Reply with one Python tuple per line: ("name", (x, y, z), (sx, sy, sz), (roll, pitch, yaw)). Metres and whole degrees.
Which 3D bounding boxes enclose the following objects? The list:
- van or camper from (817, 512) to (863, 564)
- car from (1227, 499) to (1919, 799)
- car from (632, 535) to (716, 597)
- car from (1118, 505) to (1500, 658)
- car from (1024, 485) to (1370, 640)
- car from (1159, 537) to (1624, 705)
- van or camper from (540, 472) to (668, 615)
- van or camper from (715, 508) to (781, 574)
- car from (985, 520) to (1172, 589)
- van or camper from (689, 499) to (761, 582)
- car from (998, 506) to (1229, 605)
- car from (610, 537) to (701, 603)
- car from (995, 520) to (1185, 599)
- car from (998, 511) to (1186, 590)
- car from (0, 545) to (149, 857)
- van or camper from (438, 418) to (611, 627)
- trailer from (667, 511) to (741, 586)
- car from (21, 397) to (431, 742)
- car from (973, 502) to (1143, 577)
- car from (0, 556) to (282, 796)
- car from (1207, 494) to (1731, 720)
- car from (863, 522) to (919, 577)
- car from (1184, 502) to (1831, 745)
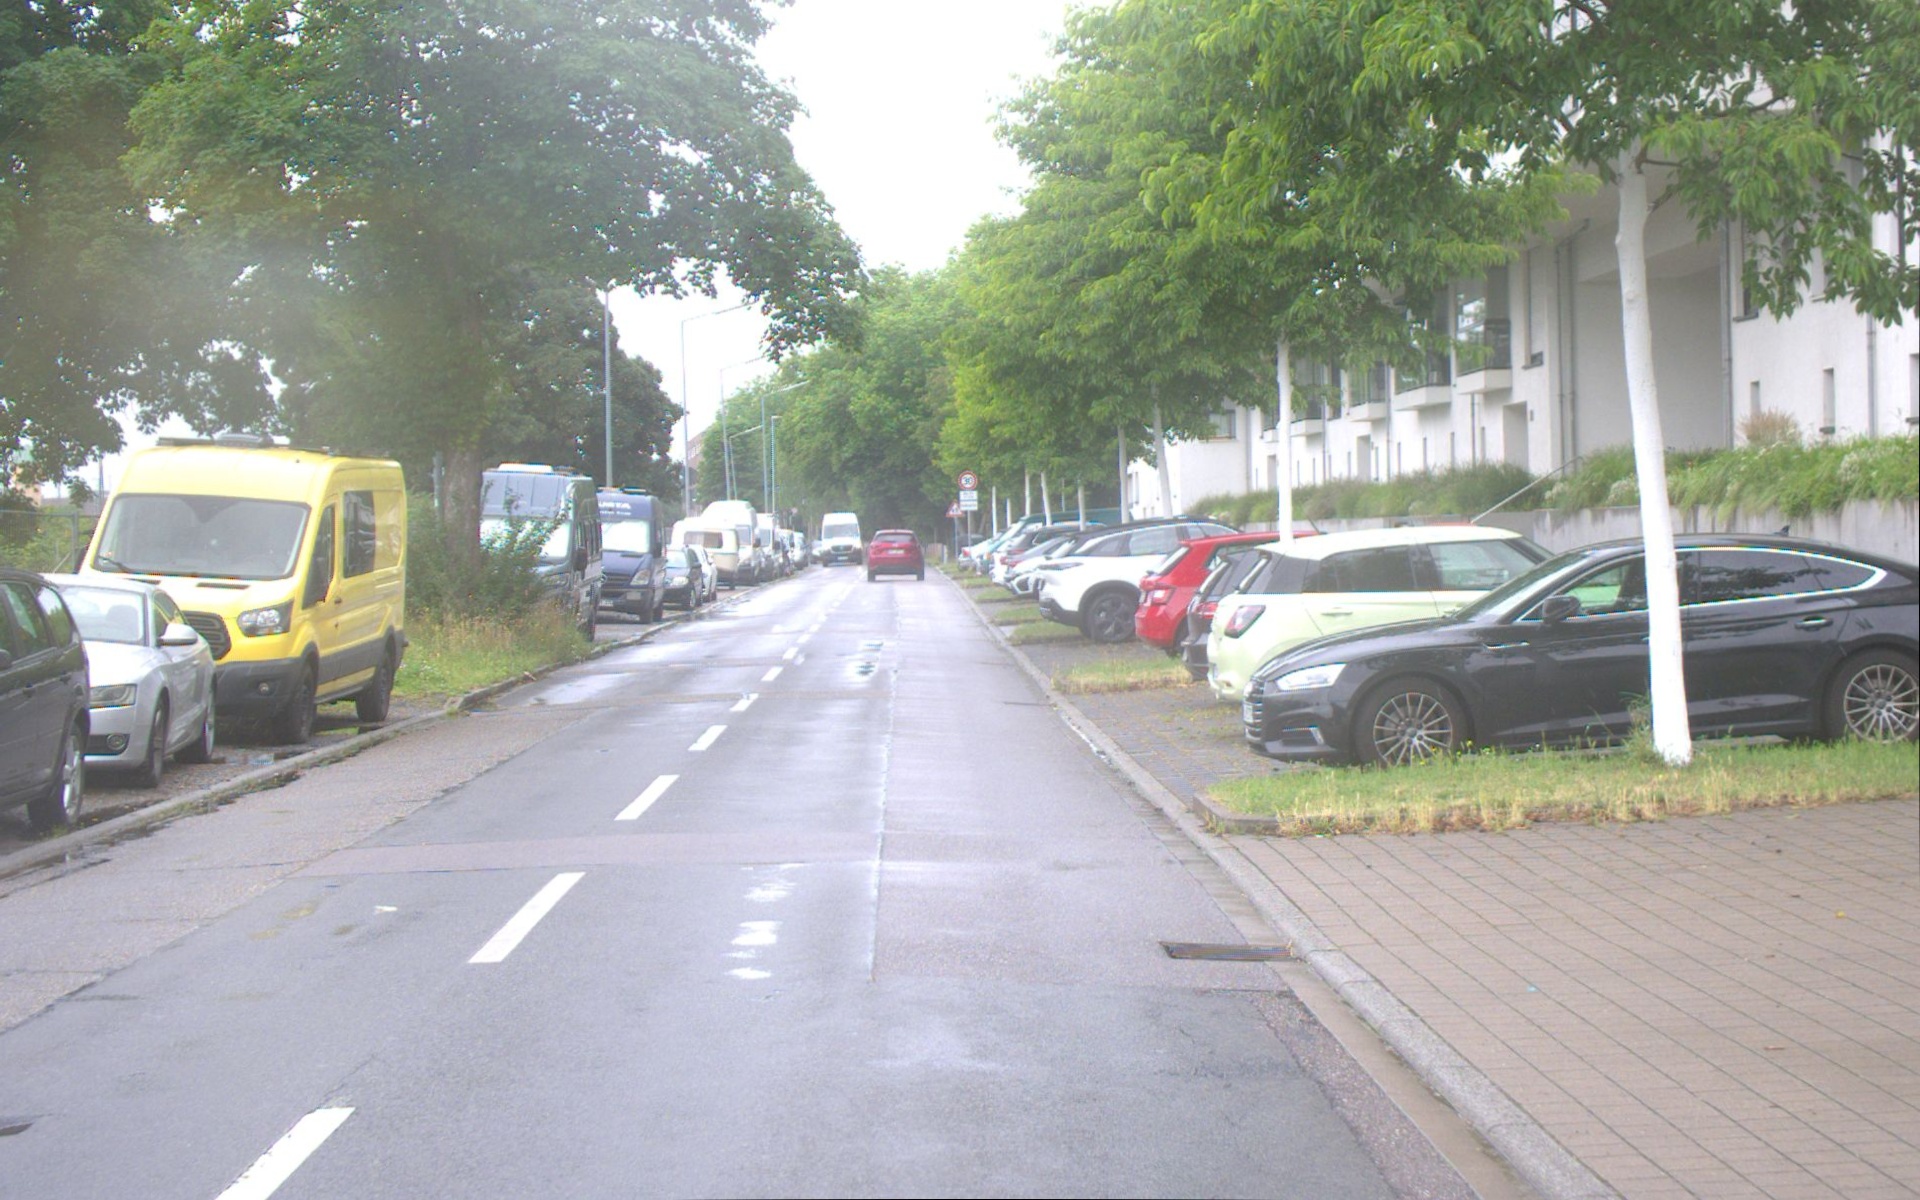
("van or camper", (-5.996, -3.128, 172.855), (1.993, 2.488, 7.178), (-2, 1, 0))
("car", (4.051, 0.254, 21.031), (4.570, 1.492, 1.826), (-4, 1, -1))
("car", (-7.378, -0.911, 89.055), (1.887, 1.520, 5.110), (1, 1, -2))
("car", (3.858, -0.200, 38.511), (3.987, 1.446, 1.821), (-3, 0, -1))
("car", (3.314, -0.540, 48.688), (4.539, 1.679, 1.886), (-6, 1, -3))
("car", (3.850, 0.171, 31.058), (3.956, 1.469, 1.592), (0, 1, -3))
("van or camper", (-7.201, -1.123, 70.178), (2.094, 2.706, 7.575), (1, 1, -2))
("van or camper", (-8.091, -2.239, 131.468), (2.189, 2.453, 6.377), (0, 1, -1))
("car", (2.836, -1.098, 82.810), (4.298, 1.423, 1.637), (-3, 1, -3))
("van or camper", (-7.998, -2.026, 117.543), (1.993, 2.752, 7.899), (0, 1, -1))
("car", (3.108, -0.926, 70.401), (4.476, 1.681, 1.936), (-4, 2, -2))
("car", (-7.301, -0.744, 82.722), (1.774, 1.497, 4.828), (1, 1, 0))
("car", (2.826, -0.897, 75.204), (3.987, 1.504, 1.684), (-3, 2, -1))
("car", (3.064, -1.155, 80.390), (4.161, 1.619, 1.898), (-3, 1, -3))
("car", (-5.919, 0.484, 18.605), (1.993, 1.588, 5.018), (1, 1, -2))
("van or camper", (-6.861, -1.190, 54.804), (2.094, 3.084, 6.425), (1, 1, -2))
("trailer", (-7.778, -1.596, 104.917), (2.058, 2.210, 5.795), (0, 1, -2))
("car", (-6.290, -0.295, 30.301), (2.192, 2.685, 6.081), (1, 1, 1))
("car", (2.770, -1.722, 97.728), (4.617, 2.012, 1.858), (-1, 1, -5))
("car", (-6.208, 0.435, 23.938), (2.010, 1.429, 5.340), (2, 1, -1))
("car", (4.146, 0.040, 28.416), (3.987, 1.550, 1.635), (-4, 1, 0))
("car", (-2.231, -1.653, 111.825), (1.756, 1.700, 4.000), (-1, 1, -1))
("car", (4.030, 0.158, 25.779), (4.487, 1.476, 1.692), (-4, 1, -1))
